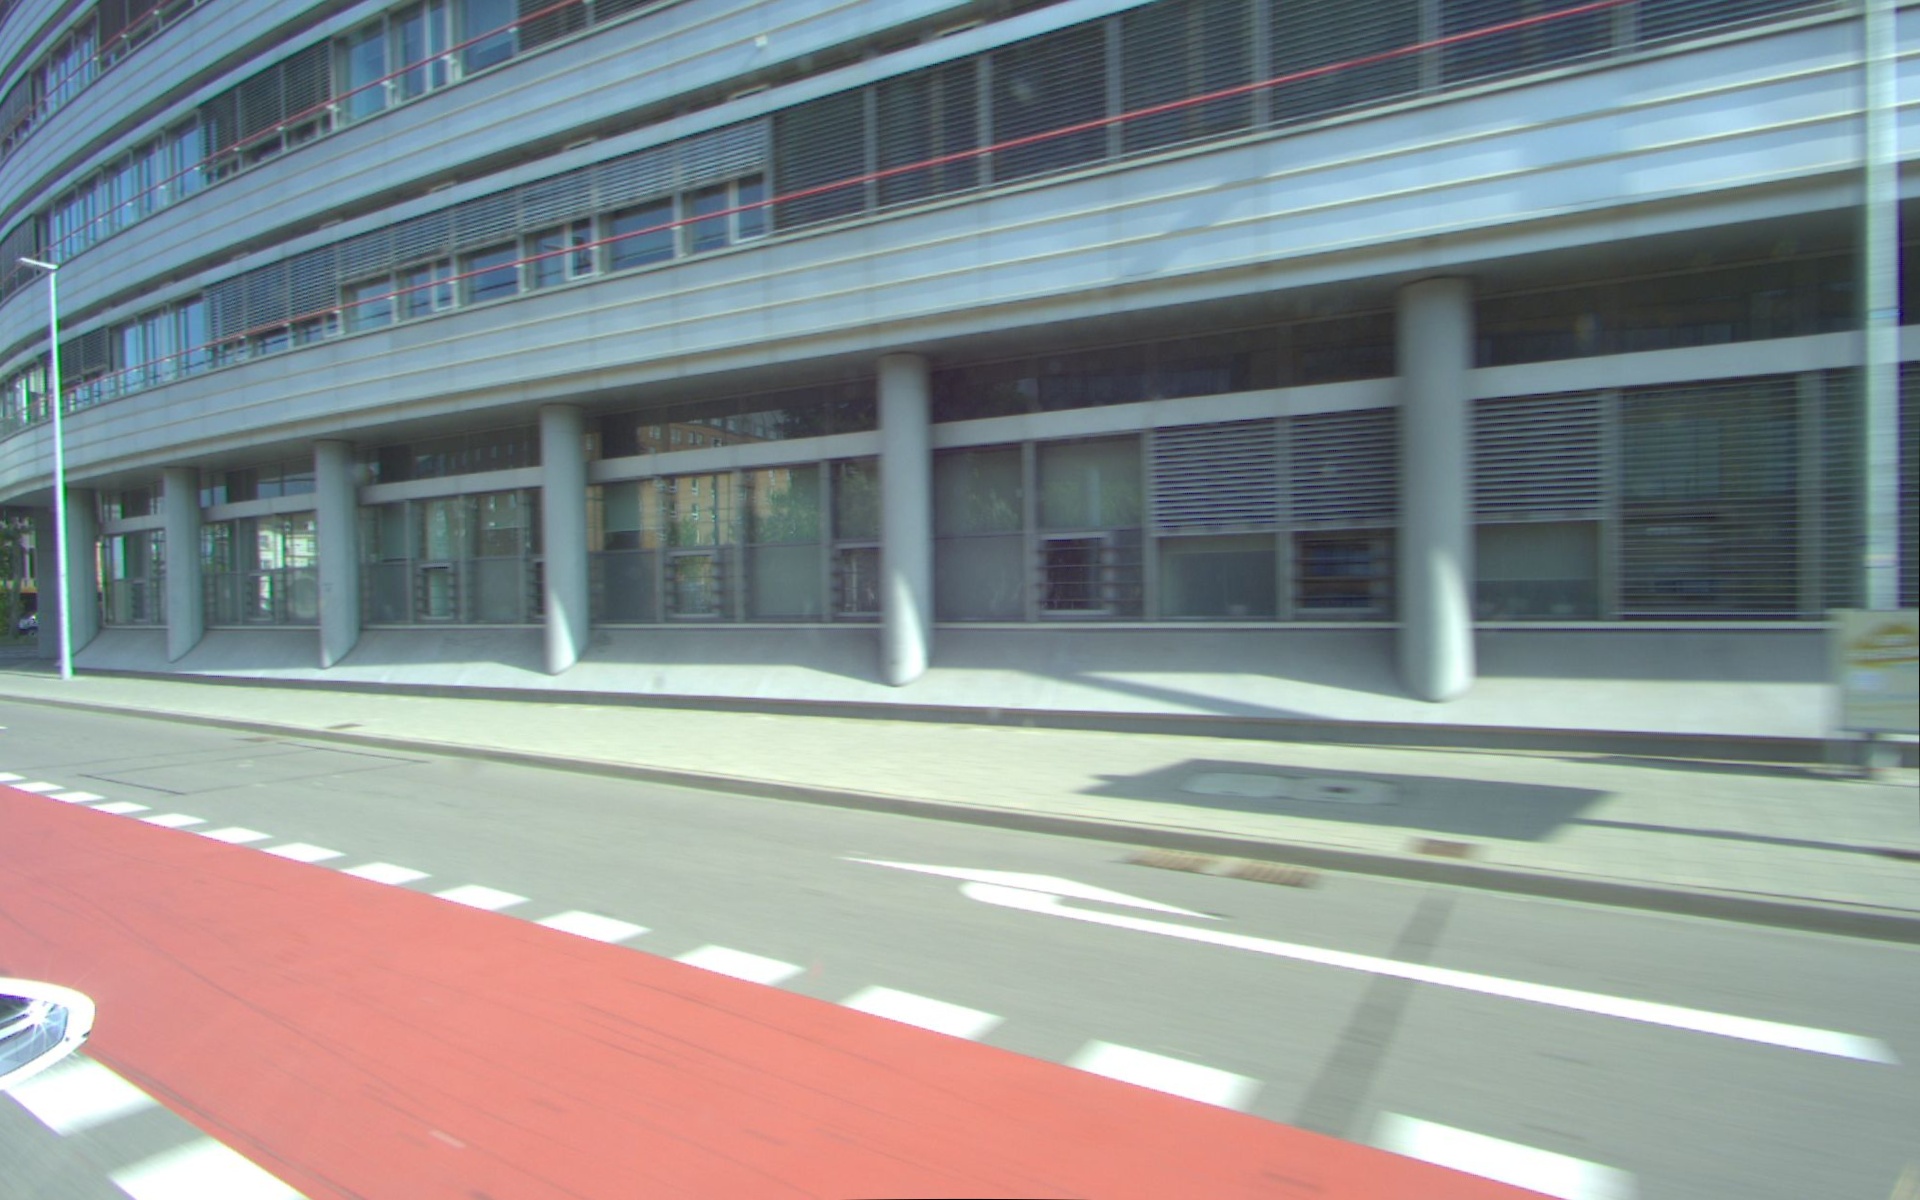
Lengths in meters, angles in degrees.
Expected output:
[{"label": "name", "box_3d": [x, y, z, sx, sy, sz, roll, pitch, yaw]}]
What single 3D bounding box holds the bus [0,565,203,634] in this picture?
[{"label": "bus", "box_3d": [-55.136, 0.019, 59.221, 2.816, 3.860, 17.623, -2, -1, 21]}]
